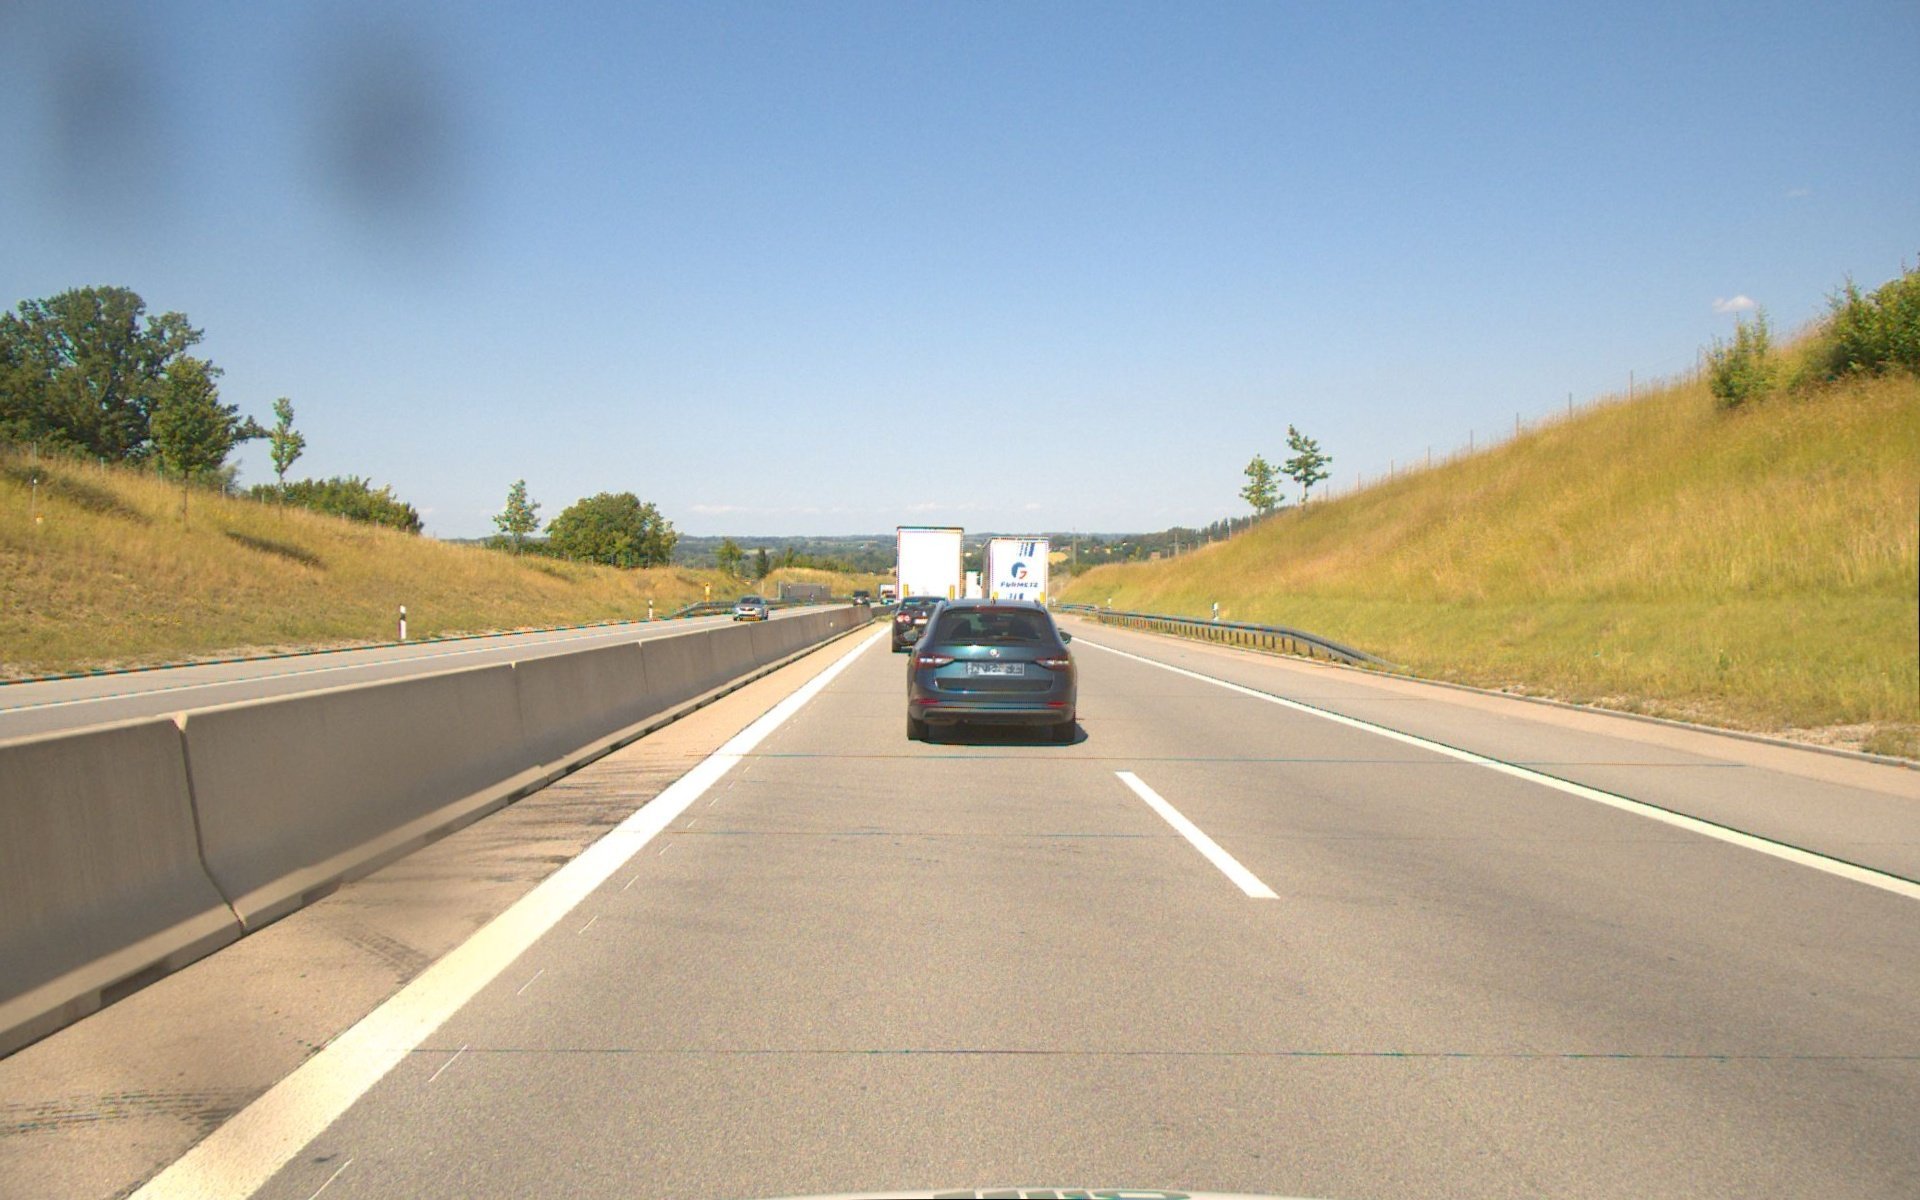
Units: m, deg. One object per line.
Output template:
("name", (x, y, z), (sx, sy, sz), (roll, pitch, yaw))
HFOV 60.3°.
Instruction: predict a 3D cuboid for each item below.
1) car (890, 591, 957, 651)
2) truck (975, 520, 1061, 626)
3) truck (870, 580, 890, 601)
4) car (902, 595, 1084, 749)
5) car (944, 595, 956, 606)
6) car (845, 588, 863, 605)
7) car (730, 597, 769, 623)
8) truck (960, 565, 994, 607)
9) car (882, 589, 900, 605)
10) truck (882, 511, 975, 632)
("car", (-1.004, 0.512, 43.963), (1.666, 1.466, 3.998), (-2, 0, -2))
("truck", (2.636, -1.198, 76.863), (3.530, 4.457, 11.236), (-2, 0, 1))
("truck", (-12.059, -1.416, 249.553), (2.717, 3.074, 6.791), (0, 0, -1))
("car", (0.257, 0.698, 17.945), (1.741, 1.466, 3.787), (1, 0, -2))
("car", (-1.330, 0.035, 222.957), (1.665, 1.466, 4.000), (0, 0, 0))
("car", (-13.067, -0.465, 204.451), (1.953, 2.049, 4.969), (1, 0, -1))
("car", (-12.383, 0.577, 97.641), (1.766, 1.497, 4.526), (0, 0, -1))
("truck", (1.967, -1.599, 188.088), (3.530, 4.457, 11.236), (-2, 0, 1))
("car", (-8.102, -0.365, 194.598), (1.892, 1.762, 4.885), (1, 0, -1))
("truck", (-1.150, -1.125, 68.168), (3.144, 4.457, 11.236), (-2, 0, 2))
